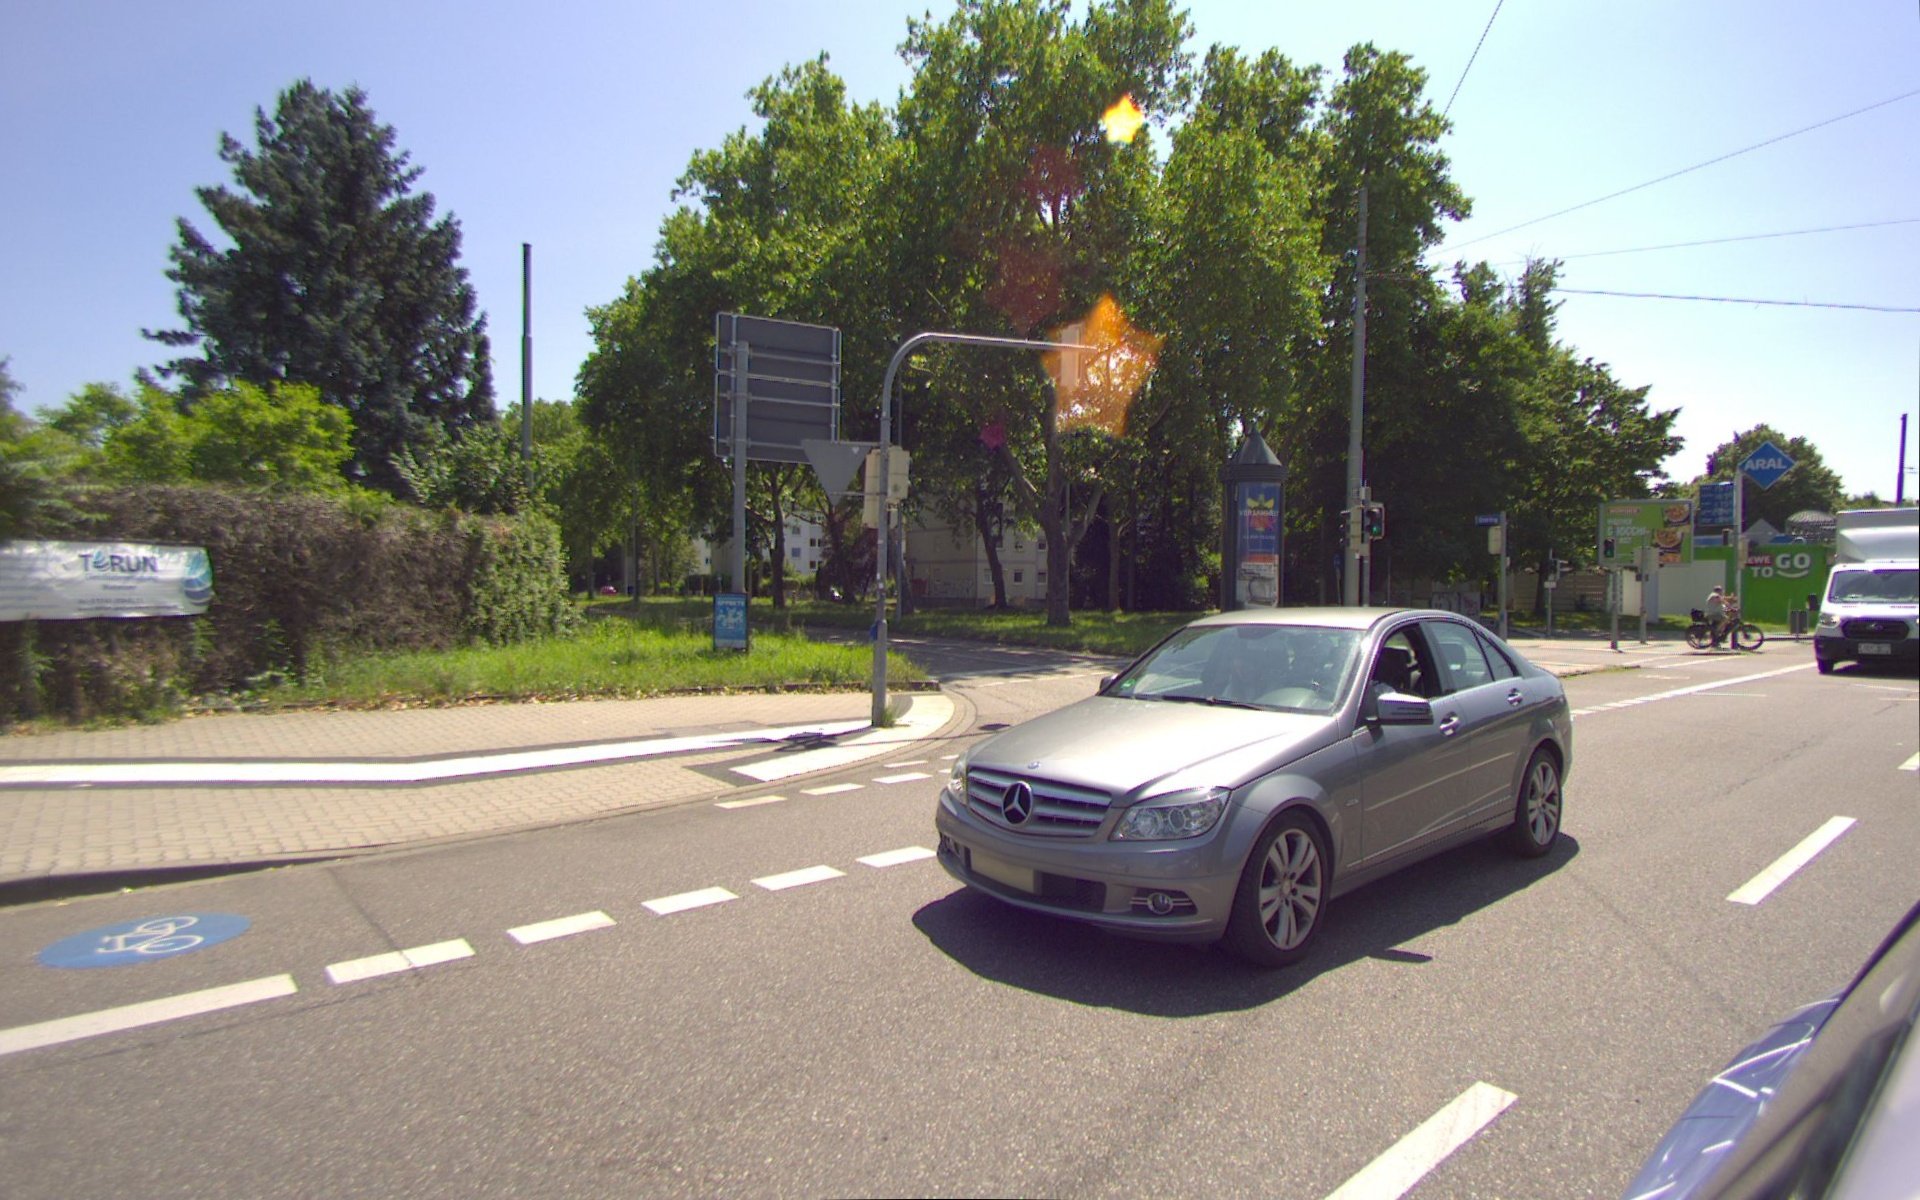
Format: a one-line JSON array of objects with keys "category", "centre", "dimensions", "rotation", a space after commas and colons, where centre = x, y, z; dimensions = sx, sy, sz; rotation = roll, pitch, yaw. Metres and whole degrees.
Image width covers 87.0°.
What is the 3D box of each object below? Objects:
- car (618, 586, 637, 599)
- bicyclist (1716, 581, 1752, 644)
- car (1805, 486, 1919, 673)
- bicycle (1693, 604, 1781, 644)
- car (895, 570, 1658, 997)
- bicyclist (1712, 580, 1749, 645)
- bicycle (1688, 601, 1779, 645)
[{"category": "car", "centre": [-39.947, -0.920, 121.622], "dimensions": [1.673, 1.464, 3.389], "rotation": [-1, 0, -28]}, {"category": "bicyclist", "centre": [22.870, 0.364, 29.909], "dimensions": [0.752, 1.811, 0.579], "rotation": [0, -1, -32]}, {"category": "car", "centre": [20.308, -0.428, 21.375], "dimensions": [8.482, 3.377, 2.228], "rotation": [-1, 0, -39]}, {"category": "bicycle", "centre": [22.925, 0.685, 29.885], "dimensions": [0.877, 1.139, 1.874], "rotation": [0, 0, -32]}, {"category": "car", "centre": [2.221, 0.669, 5.899], "dimensions": [5.207, 1.492, 1.716], "rotation": [0, -2, -40]}, {"category": "bicyclist", "centre": [22.089, 0.345, 29.012], "dimensions": [0.960, 1.810, 0.724], "rotation": [0, 0, -44]}, {"category": "bicycle", "centre": [22.076, 0.637, 28.904], "dimensions": [0.880, 1.174, 1.951], "rotation": [0, 1, -44]}]
